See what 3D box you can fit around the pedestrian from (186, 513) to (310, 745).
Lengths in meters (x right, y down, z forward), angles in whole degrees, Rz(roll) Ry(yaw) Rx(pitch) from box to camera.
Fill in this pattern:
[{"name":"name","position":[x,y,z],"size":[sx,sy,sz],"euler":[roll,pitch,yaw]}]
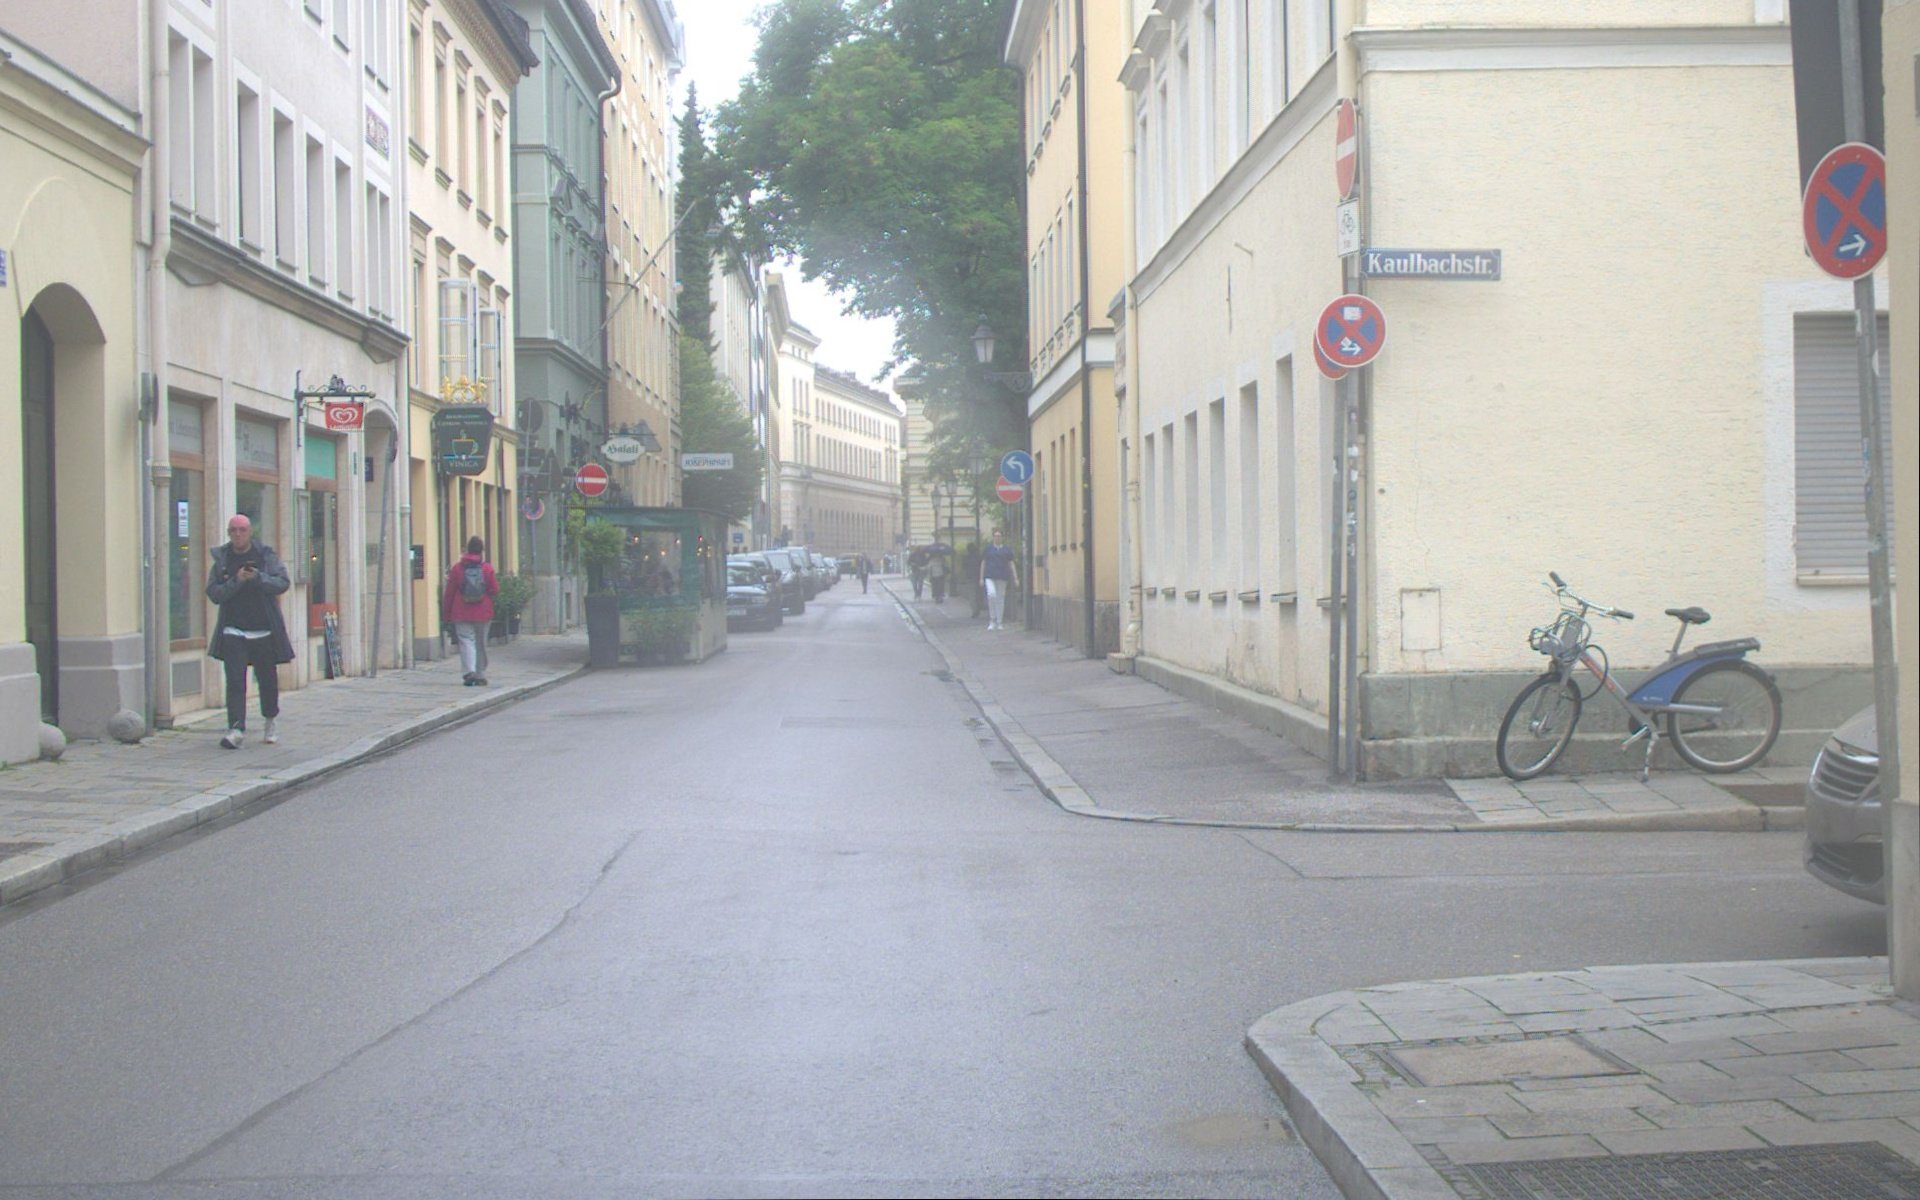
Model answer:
[{"name":"pedestrian","position":[-5.502,0.211,26.615],"size":[0.809,1.749,0.990],"euler":[0,2,-4]}]

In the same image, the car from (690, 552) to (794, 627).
[{"name":"car","position":[-4.363,-0.234,69.253],"size":[1.779,1.461,3.663],"euler":[0,1,1]}]

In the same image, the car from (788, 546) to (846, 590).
[{"name":"car","position":[-4.922,-1.117,118.655],"size":[1.779,1.461,3.542],"euler":[0,1,1]}]

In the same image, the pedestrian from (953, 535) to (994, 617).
[{"name":"pedestrian","position":[0.292,-0.537,75.827],"size":[0.880,1.796,1.046],"euler":[0,1,-1]}]

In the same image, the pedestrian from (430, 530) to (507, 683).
[{"name":"pedestrian","position":[-5.560,0.068,38.926],"size":[0.765,1.702,0.785],"euler":[-1,1,-4]}]

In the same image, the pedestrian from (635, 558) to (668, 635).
[{"name":"pedestrian","position":[-4.948,-0.057,55.180],"size":[0.509,1.233,0.631],"euler":[0,1,-3]}]

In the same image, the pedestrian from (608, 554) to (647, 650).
[{"name":"pedestrian","position":[-4.613,0.027,47.779],"size":[0.509,1.322,0.631],"euler":[0,1,-3]}]

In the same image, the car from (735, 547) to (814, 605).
[{"name":"car","position":[-4.773,-0.635,88.926],"size":[1.779,1.461,3.542],"euler":[0,1,1]}]

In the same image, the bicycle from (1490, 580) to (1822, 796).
[{"name":"bicycle","position":[3.947,0.492,19.559],"size":[1.757,1.140,0.586],"euler":[-1,3,-1]}]

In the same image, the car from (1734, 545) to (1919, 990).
[{"name":"car","position":[5.009,0.556,12.430],"size":[4.015,1.436,1.765],"euler":[0,3,1]}]

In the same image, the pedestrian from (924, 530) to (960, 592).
[{"name":"pedestrian","position":[-0.531,-1.140,100.539],"size":[1.015,1.796,1.349],"euler":[0,1,-1]}]
